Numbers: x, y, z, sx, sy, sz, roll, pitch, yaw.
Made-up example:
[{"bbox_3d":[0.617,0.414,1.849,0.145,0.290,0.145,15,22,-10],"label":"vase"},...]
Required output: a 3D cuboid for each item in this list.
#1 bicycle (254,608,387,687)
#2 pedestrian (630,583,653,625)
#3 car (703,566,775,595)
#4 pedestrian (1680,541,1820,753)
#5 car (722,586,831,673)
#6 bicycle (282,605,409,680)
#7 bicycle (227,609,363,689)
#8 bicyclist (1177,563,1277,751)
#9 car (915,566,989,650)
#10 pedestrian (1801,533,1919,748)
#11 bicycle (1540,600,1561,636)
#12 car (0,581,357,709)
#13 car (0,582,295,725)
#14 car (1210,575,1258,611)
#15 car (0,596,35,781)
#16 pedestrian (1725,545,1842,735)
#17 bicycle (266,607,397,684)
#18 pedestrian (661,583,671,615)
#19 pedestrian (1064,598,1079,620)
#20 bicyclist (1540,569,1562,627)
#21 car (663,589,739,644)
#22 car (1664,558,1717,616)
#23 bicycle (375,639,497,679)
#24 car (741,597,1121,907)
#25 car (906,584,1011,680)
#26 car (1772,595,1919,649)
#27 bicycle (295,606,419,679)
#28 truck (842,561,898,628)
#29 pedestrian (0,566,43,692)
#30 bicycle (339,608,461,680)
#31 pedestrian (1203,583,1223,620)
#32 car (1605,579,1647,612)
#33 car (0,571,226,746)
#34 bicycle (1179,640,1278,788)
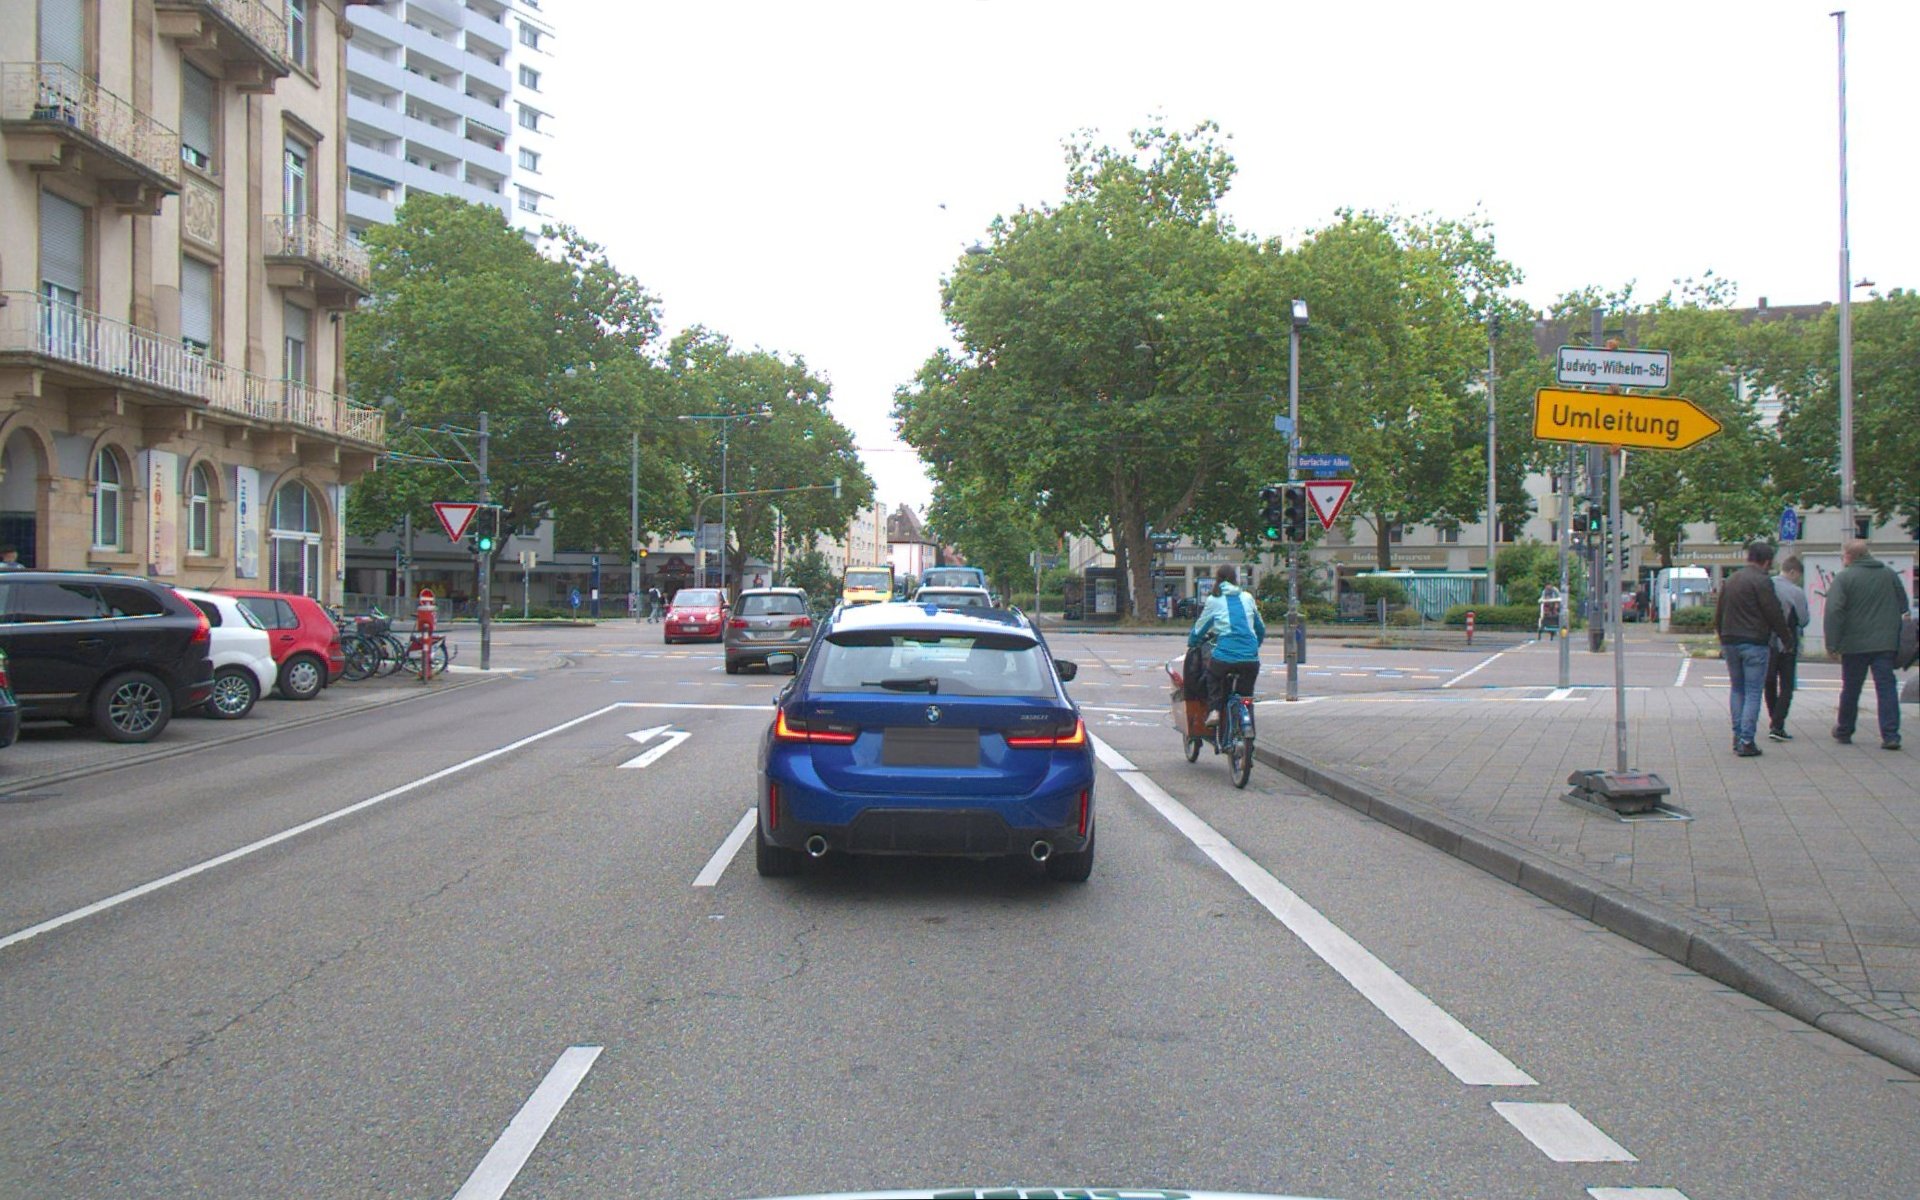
[{"bbox_3d":[-10.131,0.747,26.230,1.849,1.053,0.442,6,0,-3],"label":"bicycle"},{"bbox_3d":[-13.873,0.162,72.091,0.664,1.802,0.722,0,0,41],"label":"pedestrian"},{"bbox_3d":[-13.624,-1.177,101.988,3.953,1.736,1.976,1,-1,-35],"label":"car"},{"bbox_3d":[6.680,0.383,14.034,0.660,1.715,0.969,-2,0,-1],"label":"pedestrian"},{"bbox_3d":[-3.468,0.521,31.785,1.697,1.551,3.999,0,0,-1],"label":"car"},{"bbox_3d":[-10.180,0.703,27.426,1.849,1.053,0.442,6,0,-3],"label":"bicycle"},{"bbox_3d":[-10.208,0.748,25.412,1.847,1.053,0.442,5,0,2],"label":"bicycle"},{"bbox_3d":[2.268,0.467,14.128,0.672,1.544,1.058,0,0,-1],"label":"bicyclist"},{"bbox_3d":[-0.225,0.180,41.855,1.778,2.040,3.999,0,0,-1],"label":"car"},{"bbox_3d":[7.998,0.330,14.408,0.788,1.789,0.969,-2,0,-1],"label":"pedestrian"},{"bbox_3d":[17.282,0.511,48.394,0.540,1.013,2.061,0,0,21],"label":"bicycle"},{"bbox_3d":[-10.272,0.571,21.935,1.653,1.498,3.978,2,1,40],"label":"car"},{"bbox_3d":[-9.970,0.599,19.064,3.968,1.498,1.540,3,0,-44],"label":"car"},{"bbox_3d":[17.280,-0.450,104.239,2.130,2.239,3.999,0,0,23],"label":"car"},{"bbox_3d":[-9.754,0.705,13.176,3.959,1.521,1.708,1,0,-39],"label":"car"},{"bbox_3d":[7.701,0.360,15.504,0.619,1.702,0.970,-2,0,6],"label":"pedestrian"},{"bbox_3d":[-10.153,0.727,26.765,1.849,1.053,0.442,6,0,-3],"label":"bicycle"},{"bbox_3d":[-16.657,-0.061,93.638,0.560,1.802,0.514,0,0,-8],"label":"pedestrian"},{"bbox_3d":[6.707,0.547,99.361,0.835,1.337,0.762,0,0,-1],"label":"pedestrian"},{"bbox_3d":[17.291,-0.057,48.385,0.601,1.683,0.754,0,0,20],"label":"bicyclist"},{"bbox_3d":[-7.185,0.424,46.141,1.615,1.472,3.510,0,0,-1],"label":"car"},{"bbox_3d":[35.110,-0.599,79.420,2.191,2.685,5.443,0,0,25],"label":"car"},{"bbox_3d":[-9.374,1.054,29.661,1.849,0.453,1.028,6,2,-3],"label":"bicycle"},{"bbox_3d":[-0.161,0.705,9.917,1.778,1.430,4.319,0,0,-1],"label":"car"},{"bbox_3d":[-0.050,0.522,29.875,1.778,1.620,3.999,0,0,-1],"label":"car"},{"bbox_3d":[26.790,0.656,49.978,3.895,1.589,1.687,0,0,22],"label":"car"},{"bbox_3d":[-10.225,0.718,28.061,1.849,1.053,0.442,6,0,-3],"label":"bicycle"},{"bbox_3d":[-3.428,-0.231,63.772,2.033,2.450,5.460,-1,0,-3],"label":"truck"},{"bbox_3d":[-13.813,0.415,24.127,0.555,1.816,0.551,0,0,0],"label":"pedestrian"},{"bbox_3d":[-9.680,0.755,28.617,1.849,1.053,0.442,6,0,-3],"label":"bicycle"},{"bbox_3d":[12.259,0.081,80.130,0.768,1.774,0.925,0,0,-2],"label":"pedestrian"},{"bbox_3d":[31.440,-0.223,77.983,1.631,1.542,3.935,0,0,25],"label":"car"},{"bbox_3d":[-9.777,0.553,16.477,4.192,1.680,1.704,1,0,-44],"label":"car"},{"bbox_3d":[2.291,0.935,14.297,0.484,1.117,2.138,0,0,-1],"label":"bicycle"}]
